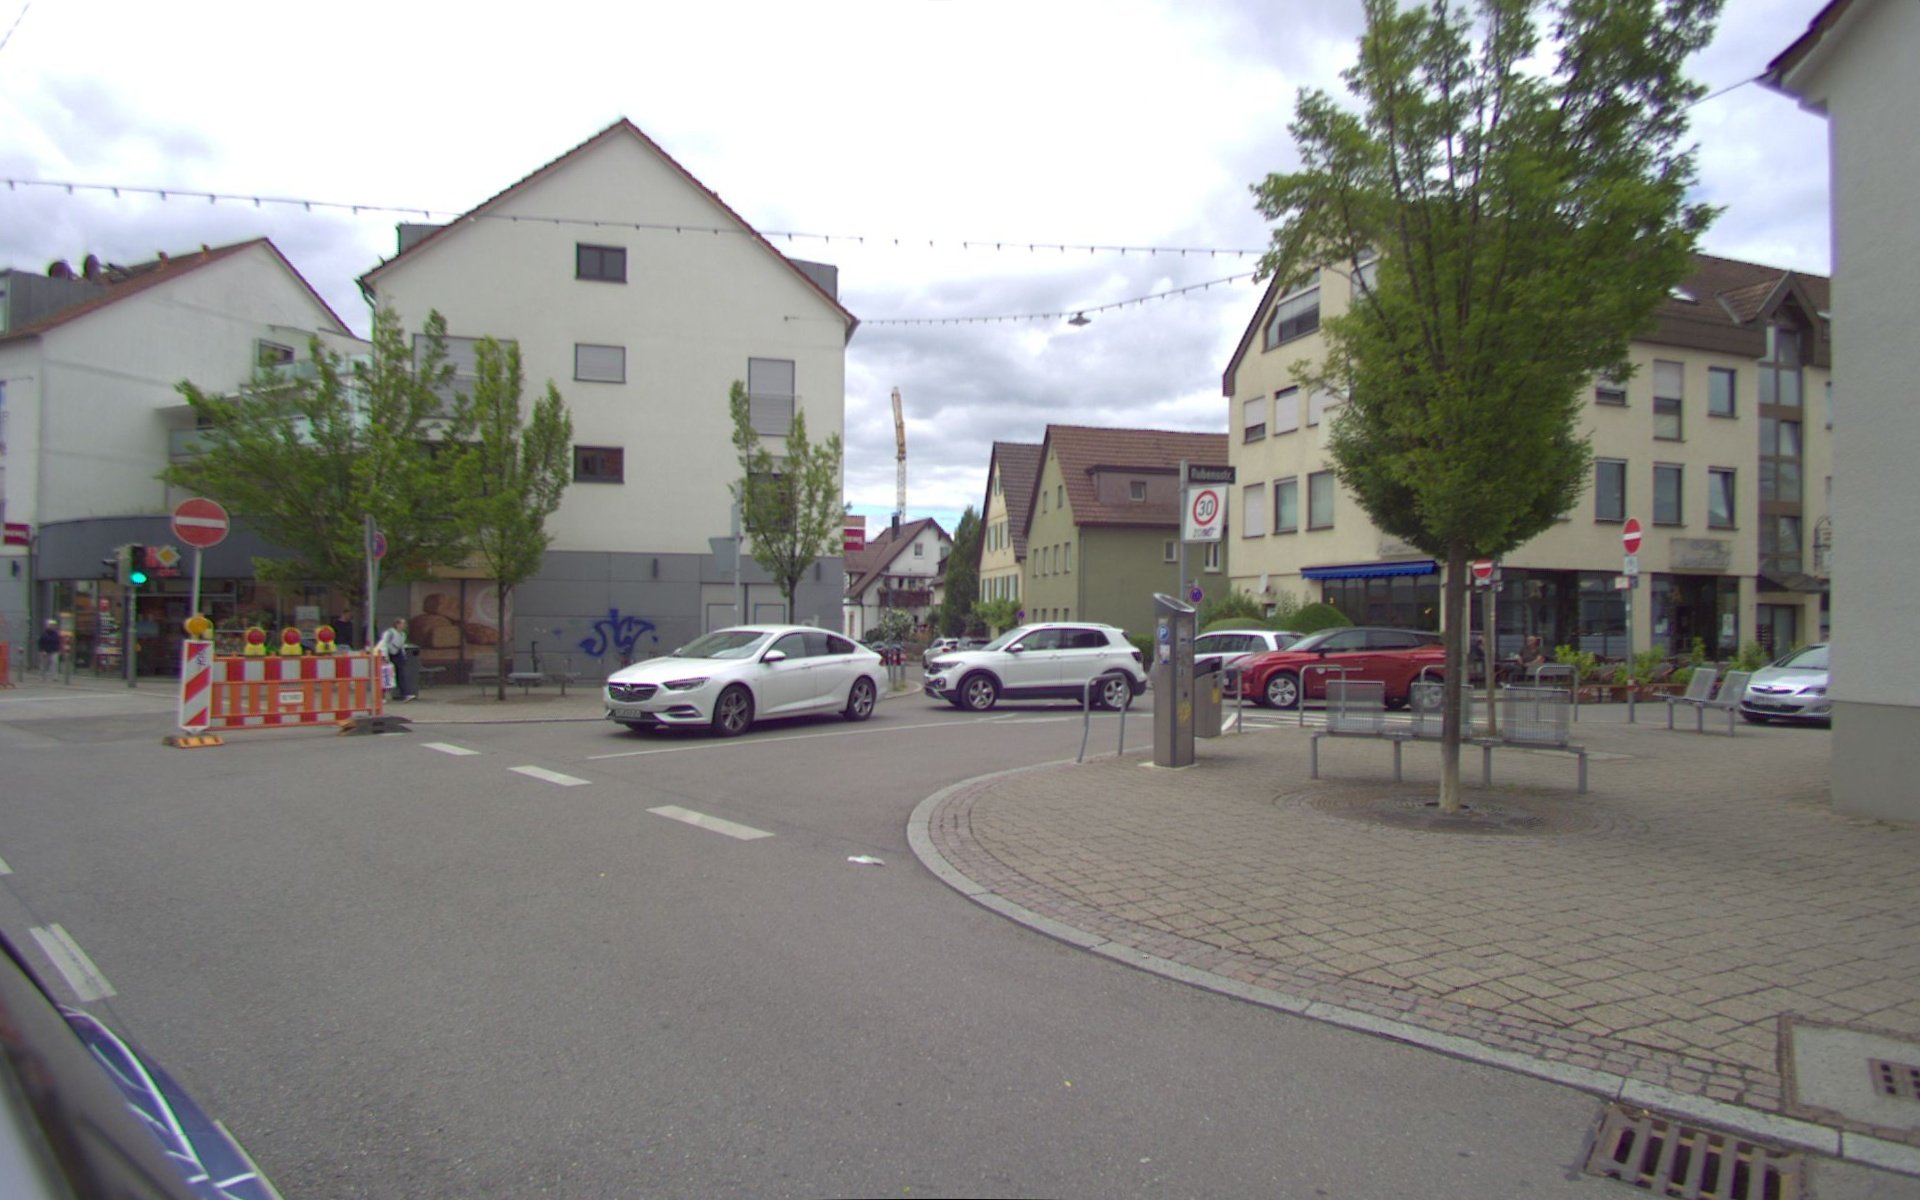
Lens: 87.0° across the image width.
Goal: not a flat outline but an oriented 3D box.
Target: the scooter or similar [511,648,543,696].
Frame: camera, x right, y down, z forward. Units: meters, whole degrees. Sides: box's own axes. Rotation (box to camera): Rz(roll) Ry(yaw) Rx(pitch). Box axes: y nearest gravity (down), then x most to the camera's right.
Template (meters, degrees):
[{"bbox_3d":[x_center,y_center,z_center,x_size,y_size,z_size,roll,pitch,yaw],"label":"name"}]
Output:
[{"bbox_3d":[-10.755,1.782,25.180,0.587,1.132,1.537,0,-2,-18],"label":"scooter or similar"}]

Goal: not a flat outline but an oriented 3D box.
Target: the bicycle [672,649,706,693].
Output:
[{"bbox_3d":[-6.952,1.809,25.923,0.798,1.082,1.966,1,-4,-16],"label":"bicycle"}]

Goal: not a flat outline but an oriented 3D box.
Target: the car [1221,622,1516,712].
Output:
[{"bbox_3d":[7.770,1.258,19.639,4.852,1.569,2.020,-1,-1,2],"label":"car"}]

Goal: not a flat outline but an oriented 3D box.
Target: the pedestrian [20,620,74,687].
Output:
[{"bbox_3d":[-24.080,1.400,26.695,0.813,1.726,0.826,-2,-2,31],"label":"pedestrian"}]

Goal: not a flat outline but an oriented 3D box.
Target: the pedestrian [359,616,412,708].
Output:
[{"bbox_3d":[-10.406,1.110,18.322,0.672,1.604,0.880,2,-3,-39],"label":"pedestrian"}]

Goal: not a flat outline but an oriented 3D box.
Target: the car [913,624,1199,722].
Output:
[{"bbox_3d":[1.705,1.270,18.714,4.837,1.569,2.026,-1,-1,-13],"label":"car"}]

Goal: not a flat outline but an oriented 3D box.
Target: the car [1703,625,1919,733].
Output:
[{"bbox_3d":[15.540,1.259,17.269,4.835,1.569,2.027,-1,-1,-16],"label":"car"}]

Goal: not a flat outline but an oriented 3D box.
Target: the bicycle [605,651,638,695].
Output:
[{"bbox_3d":[-8.512,1.841,25.476,0.738,1.054,2.158,1,-4,-18],"label":"bicycle"}]

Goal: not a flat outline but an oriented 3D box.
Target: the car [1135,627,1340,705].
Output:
[{"bbox_3d":[6.445,1.486,23.896,1.968,1.652,4.336,2,-3,-38],"label":"car"}]

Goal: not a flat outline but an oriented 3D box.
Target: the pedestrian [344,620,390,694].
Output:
[{"bbox_3d":[-14.567,1.389,24.866,0.708,1.804,0.694,-1,-2,-1],"label":"pedestrian"}]

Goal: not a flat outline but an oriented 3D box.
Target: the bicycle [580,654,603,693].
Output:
[{"bbox_3d":[-9.272,1.857,25.516,0.487,0.890,1.634,1,-7,-18],"label":"bicycle"}]

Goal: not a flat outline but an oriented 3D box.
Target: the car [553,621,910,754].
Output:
[{"bbox_3d":[-3.032,1.096,14.552,2.242,1.488,4.865,-2,-1,32],"label":"car"}]

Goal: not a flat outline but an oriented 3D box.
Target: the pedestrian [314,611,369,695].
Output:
[{"bbox_3d":[-14.565,1.234,23.866,0.774,1.940,0.816,-1,-2,3],"label":"pedestrian"}]
